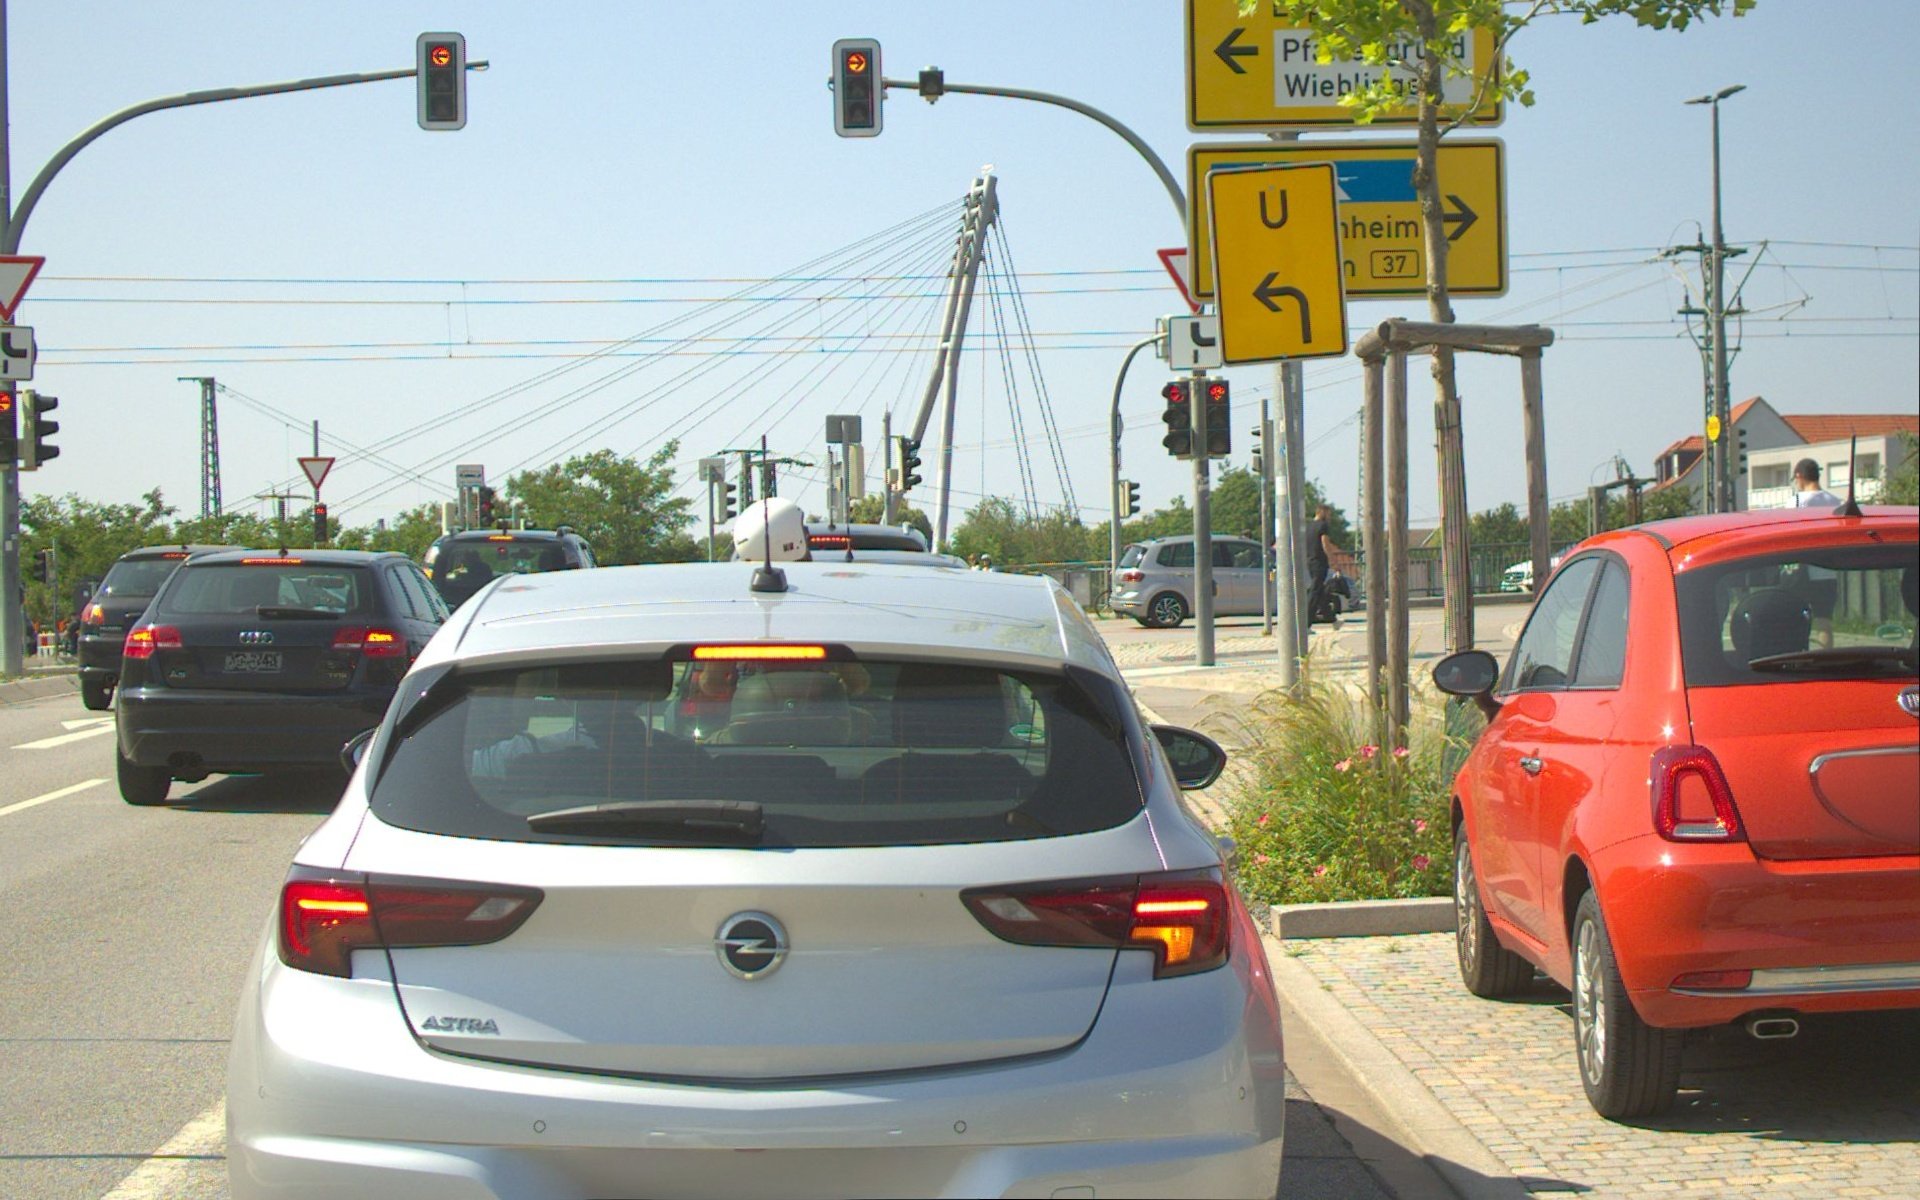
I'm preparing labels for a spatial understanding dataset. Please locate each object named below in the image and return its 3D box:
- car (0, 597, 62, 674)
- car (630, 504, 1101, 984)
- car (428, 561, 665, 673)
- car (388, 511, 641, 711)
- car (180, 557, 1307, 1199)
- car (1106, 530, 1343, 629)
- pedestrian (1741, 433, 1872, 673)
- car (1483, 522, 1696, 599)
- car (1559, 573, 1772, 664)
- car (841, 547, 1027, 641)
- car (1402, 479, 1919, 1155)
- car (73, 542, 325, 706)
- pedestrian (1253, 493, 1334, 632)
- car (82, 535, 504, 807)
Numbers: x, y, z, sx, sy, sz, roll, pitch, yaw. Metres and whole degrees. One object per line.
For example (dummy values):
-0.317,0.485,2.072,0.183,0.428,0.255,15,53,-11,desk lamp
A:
-19.912,0.645,66.630,4.475,1.450,1.998,1,0,19,car
-0.378,0.509,14.090,1.634,1.668,3.745,1,0,-1,car
-7.557,0.301,63.067,3.988,2.007,2.000,0,0,6,car
-4.001,0.089,31.443,1.803,1.616,3.917,-3,0,-1,car
-0.372,0.670,7.312,1.690,1.514,4.271,0,1,-1,car
4.565,-0.356,59.636,3.815,1.623,1.857,1,0,-6,car
6.566,-0.358,26.711,0.758,1.823,0.885,1,0,-1,pedestrian
14.123,-0.877,77.171,4.244,1.668,2.001,0,0,-18,car
13.313,0.352,64.961,3.506,1.635,1.801,1,0,-11,car
-0.596,-0.138,76.818,3.986,2.007,2.000,-1,0,-5,car
2.374,0.442,9.995,1.669,1.534,3.917,-2,2,1,car
-6.776,0.202,30.897,1.587,1.390,3.340,0,0,-1,car
4.529,-0.507,46.697,0.740,1.857,0.753,1,0,-43,pedestrian
-3.802,0.371,20.228,1.705,1.407,4.000,1,0,0,car
